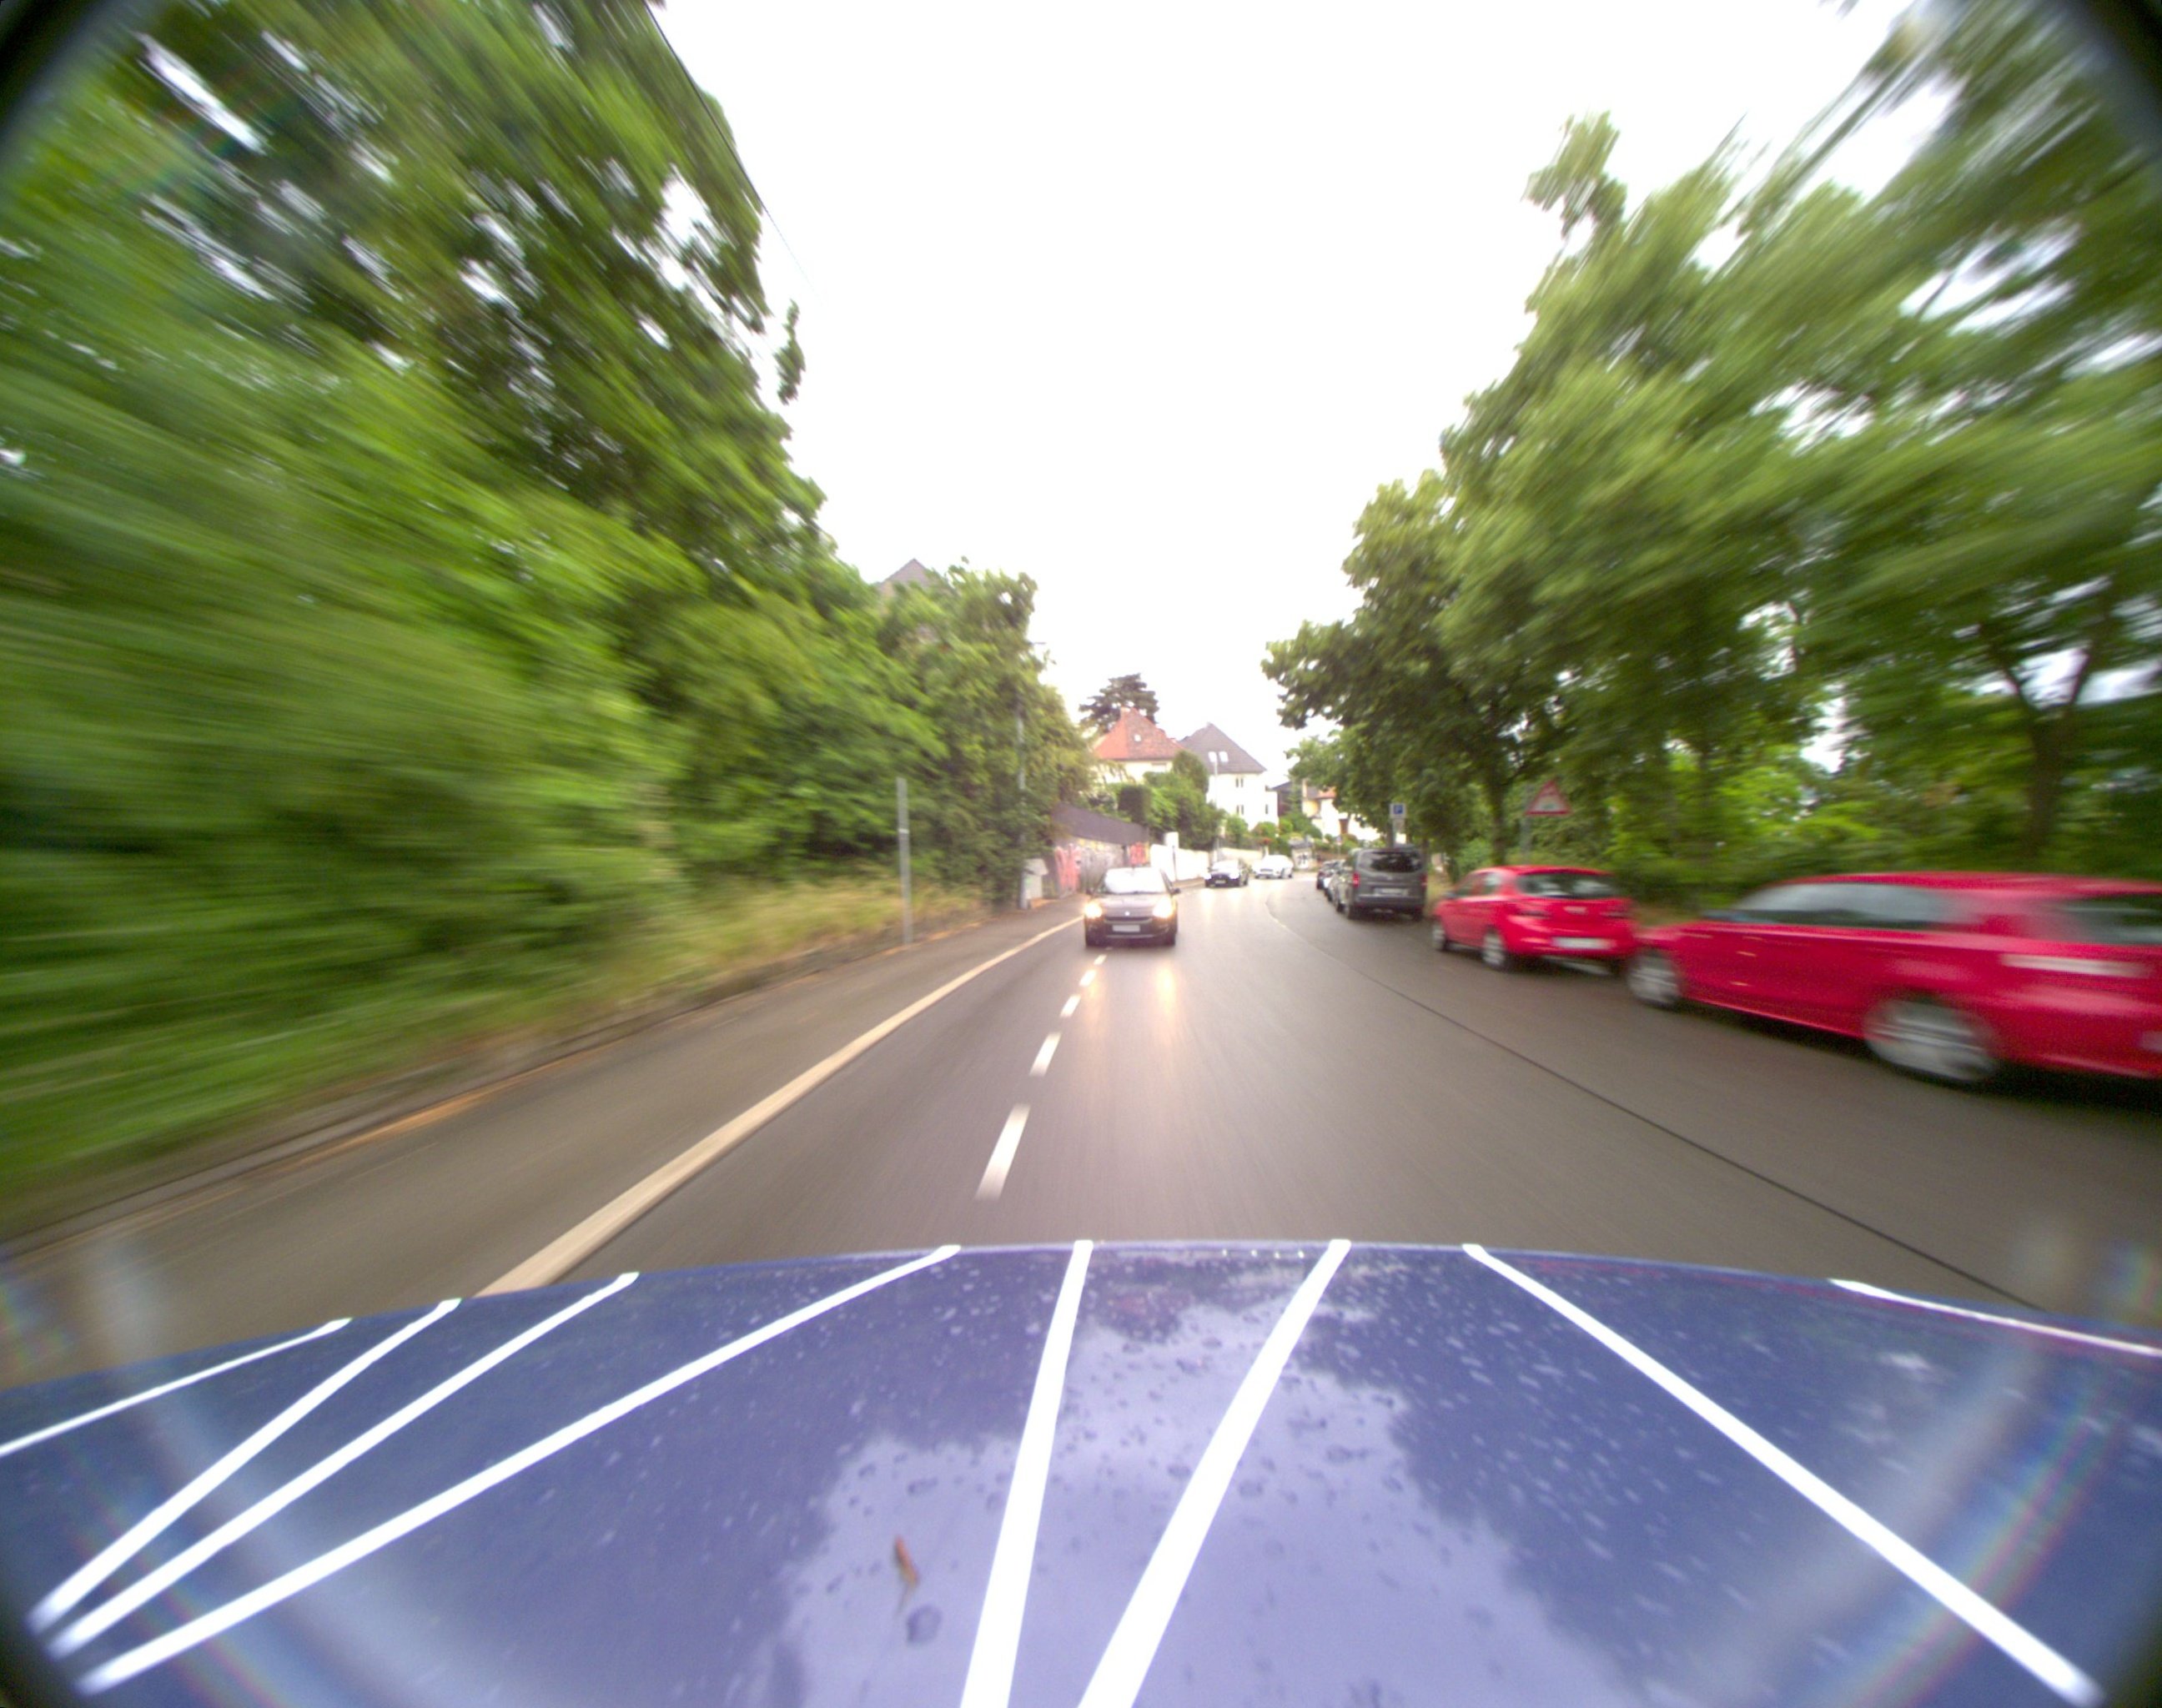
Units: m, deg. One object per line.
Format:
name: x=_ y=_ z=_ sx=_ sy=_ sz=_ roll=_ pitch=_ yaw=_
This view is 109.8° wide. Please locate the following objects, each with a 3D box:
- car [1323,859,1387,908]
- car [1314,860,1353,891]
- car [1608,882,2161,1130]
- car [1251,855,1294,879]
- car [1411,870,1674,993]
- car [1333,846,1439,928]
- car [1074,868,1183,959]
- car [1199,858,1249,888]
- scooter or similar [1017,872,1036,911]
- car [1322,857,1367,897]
car: x=9.717 y=1.028 z=27.176 sx=1.686 sy=1.543 sz=3.771 roll=3 pitch=0 yaw=13
car: x=12.910 y=1.044 z=38.734 sx=1.685 sy=1.372 sz=4.507 roll=3 pitch=1 yaw=20
car: x=6.633 y=1.014 z=6.465 sx=1.958 sy=1.400 sz=3.545 roll=1 pitch=0 yaw=4
car: x=13.747 y=0.920 z=54.395 sx=2.027 sy=1.619 sz=4.235 roll=-1 pitch=0 yaw=27
car: x=6.831 y=1.024 z=11.935 sx=1.957 sy=1.452 sz=4.579 roll=1 pitch=0 yaw=10
car: x=8.362 y=0.843 z=21.300 sx=1.957 sy=1.956 sz=5.008 roll=2 pitch=0 yaw=13
car: x=0.951 y=1.066 z=15.289 sx=1.804 sy=1.418 sz=4.384 roll=-3 pitch=0 yaw=4
car: x=7.694 y=0.973 z=40.707 sx=2.028 sy=1.454 sz=4.006 roll=-1 pitch=0 yaw=19
scooter or similar: x=-1.683 y=1.153 z=23.541 sx=0.347 sy=1.111 sz=1.423 roll=3 pitch=1 yaw=3
car: x=11.469 y=0.946 z=33.193 sx=1.685 sy=1.501 sz=4.211 roll=2 pitch=1 yaw=18
